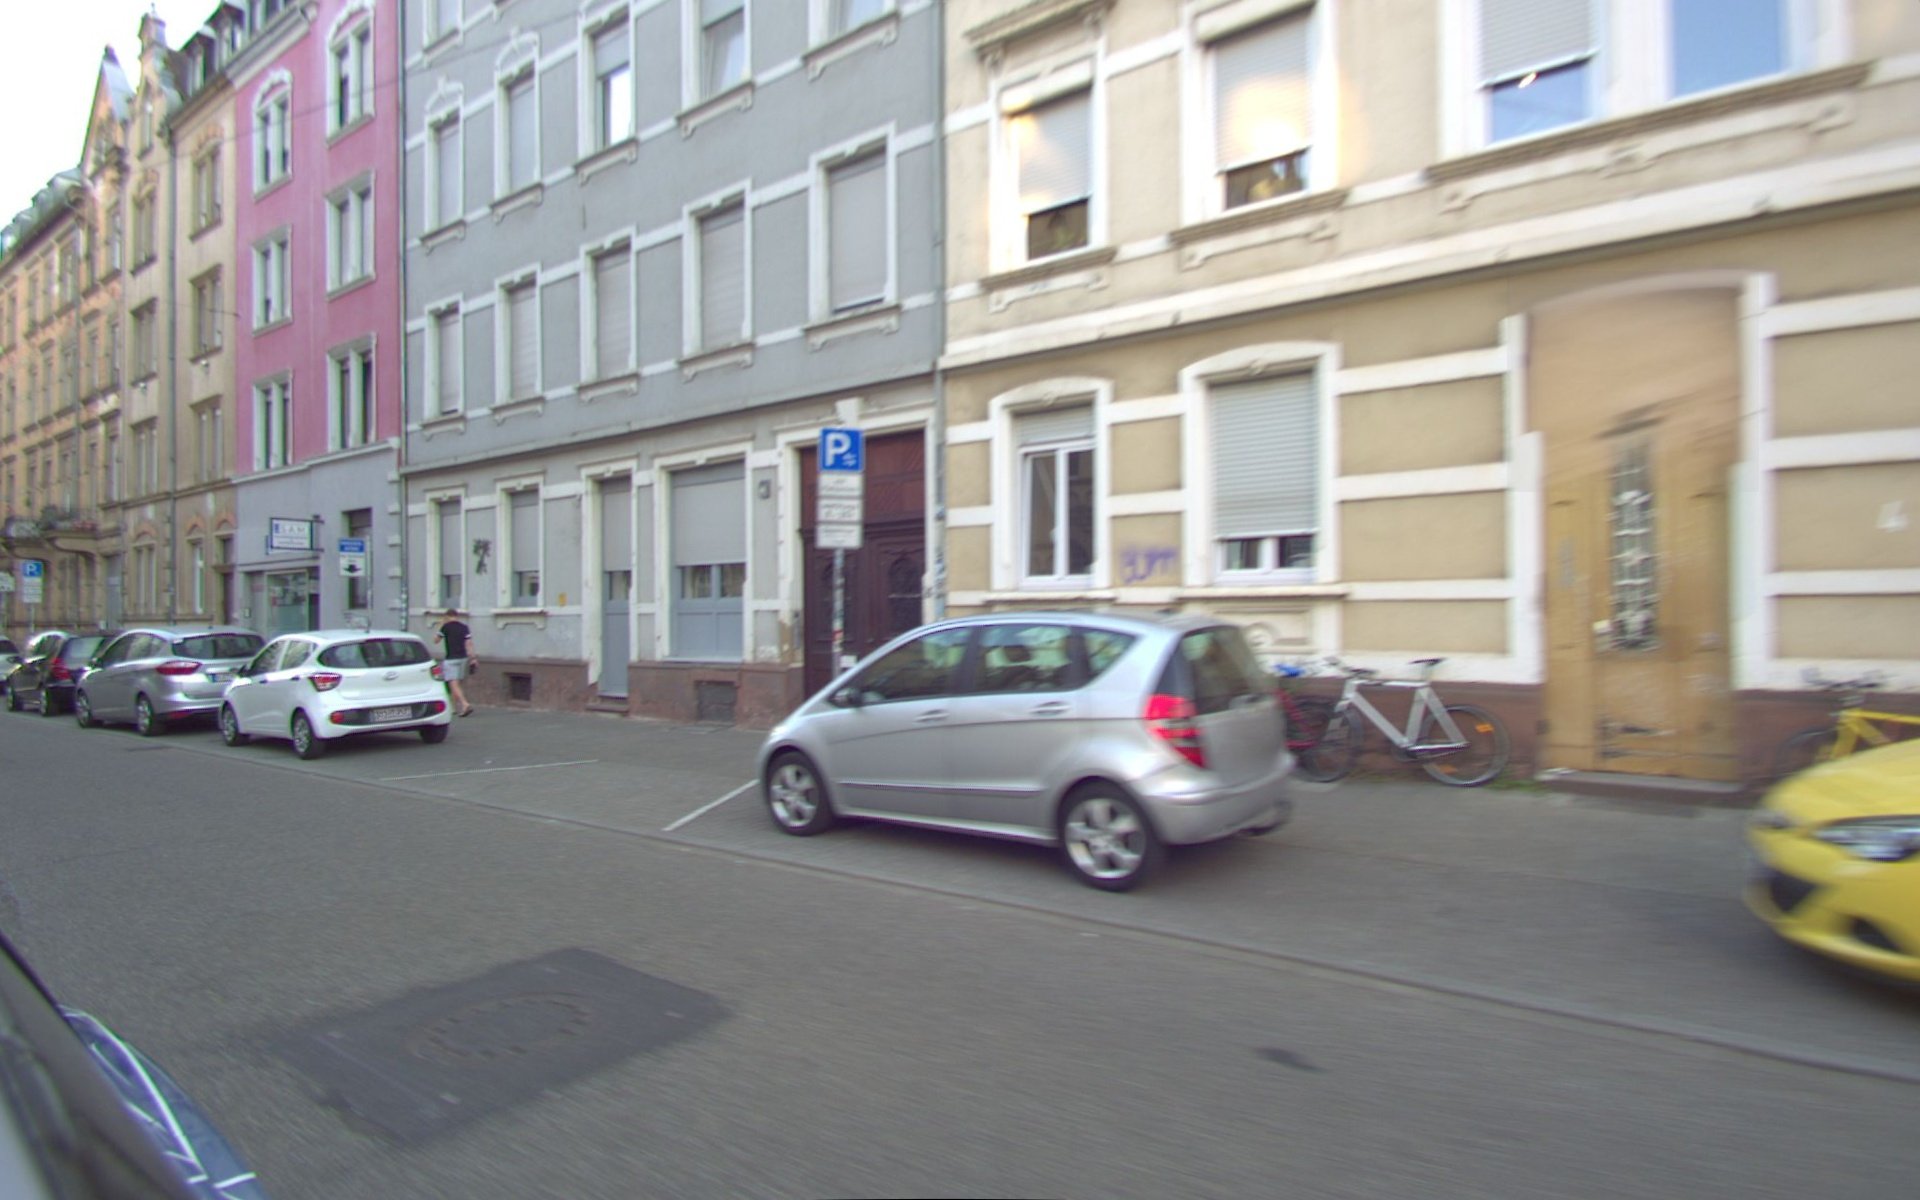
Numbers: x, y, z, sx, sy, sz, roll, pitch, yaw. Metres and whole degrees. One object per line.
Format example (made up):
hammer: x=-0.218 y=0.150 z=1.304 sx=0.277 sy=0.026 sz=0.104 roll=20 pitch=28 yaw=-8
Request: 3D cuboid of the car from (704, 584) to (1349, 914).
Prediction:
car: x=0.278 y=0.782 z=6.997 sx=4.139 sy=1.604 sz=1.783 roll=-2 pitch=0 yaw=38

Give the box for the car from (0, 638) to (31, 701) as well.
car: x=-25.156 y=1.800 z=25.559 sx=4.051 sy=1.485 sz=1.737 roll=-2 pitch=4 yaw=38

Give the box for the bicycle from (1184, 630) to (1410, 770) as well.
bicycle: x=2.996 y=0.860 z=9.137 sx=1.861 sy=1.149 sz=0.475 roll=-2 pitch=-2 yaw=38

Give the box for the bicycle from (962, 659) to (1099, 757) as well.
bicycle: x=0.735 y=1.126 z=10.813 sx=1.461 sy=0.984 sz=0.397 roll=-2 pitch=-5 yaw=34

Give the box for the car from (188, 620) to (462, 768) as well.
car: x=-8.415 y=1.133 z=13.301 sx=3.920 sy=1.588 sz=1.737 roll=-2 pitch=0 yaw=37

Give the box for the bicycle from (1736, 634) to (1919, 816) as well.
bicycle: x=6.290 y=0.805 z=6.639 sx=1.861 sy=1.149 sz=0.475 roll=-2 pitch=-2 yaw=38

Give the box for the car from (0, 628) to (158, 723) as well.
car: x=-17.591 y=1.426 z=19.988 sx=4.050 sy=1.604 sz=1.737 roll=-2 pitch=0 yaw=37

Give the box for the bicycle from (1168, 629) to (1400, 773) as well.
bicycle: x=2.794 y=0.843 z=8.866 sx=1.861 sy=1.149 sz=0.475 roll=-2 pitch=-2 yaw=38

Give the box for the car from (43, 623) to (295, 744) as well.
car: x=-12.699 y=1.252 z=16.167 sx=4.660 sy=1.604 sz=1.818 roll=-2 pitch=0 yaw=34

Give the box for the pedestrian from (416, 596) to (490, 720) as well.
pedestrian: x=-8.303 y=0.926 z=16.574 sx=0.833 sy=1.964 sz=0.841 roll=-2 pitch=-2 yaw=40

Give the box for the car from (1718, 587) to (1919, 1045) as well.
car: x=5.416 y=0.680 z=3.117 sx=4.789 sy=1.537 sz=1.823 roll=-2 pitch=0 yaw=35
